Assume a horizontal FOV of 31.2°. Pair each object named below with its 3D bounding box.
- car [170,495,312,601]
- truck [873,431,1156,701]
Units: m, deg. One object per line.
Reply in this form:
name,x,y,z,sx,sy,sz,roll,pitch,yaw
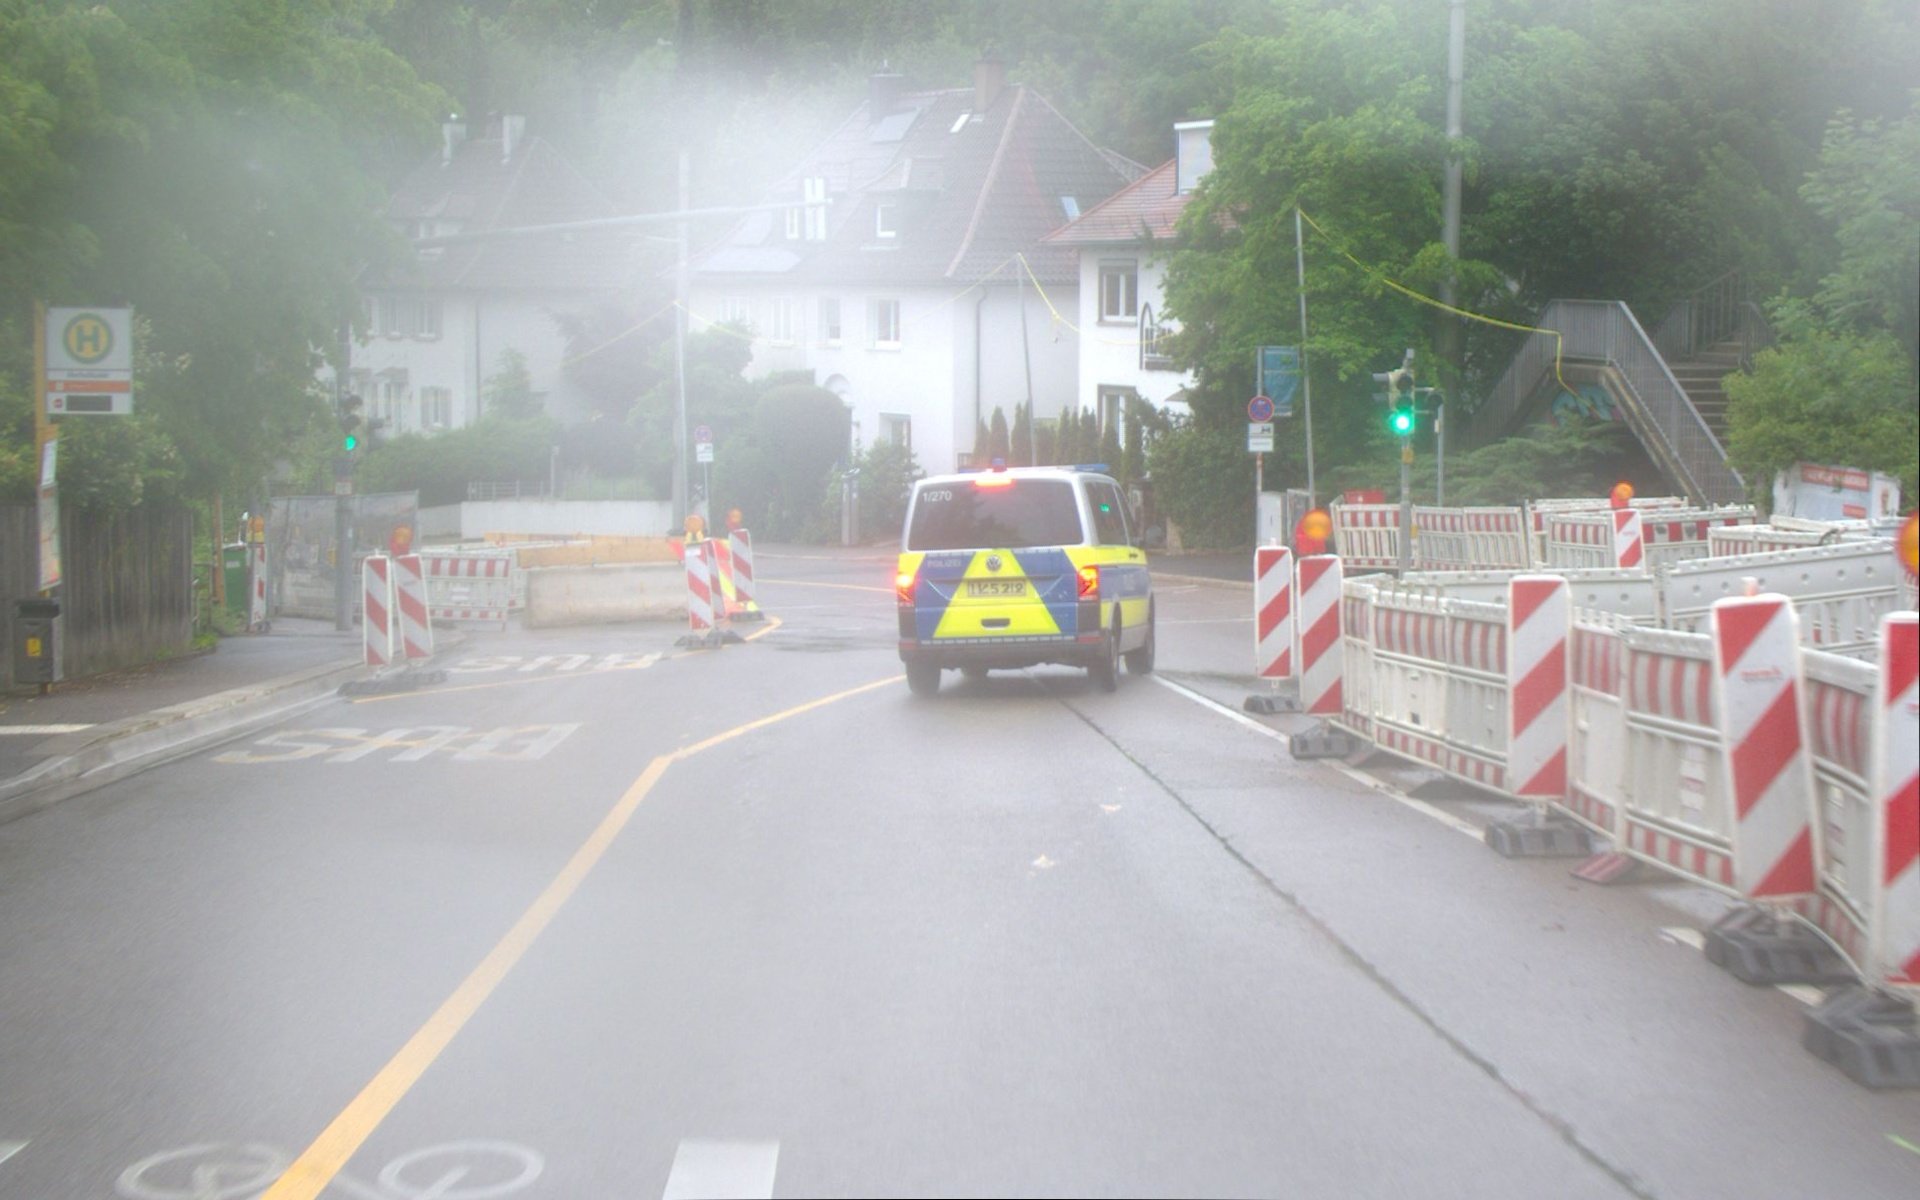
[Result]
car,-14.240,-1.036,67.885,1.993,2.007,4.808,0,1,-21
truck,0.592,-0.393,31.366,1.994,2.006,4.735,-1,6,8
